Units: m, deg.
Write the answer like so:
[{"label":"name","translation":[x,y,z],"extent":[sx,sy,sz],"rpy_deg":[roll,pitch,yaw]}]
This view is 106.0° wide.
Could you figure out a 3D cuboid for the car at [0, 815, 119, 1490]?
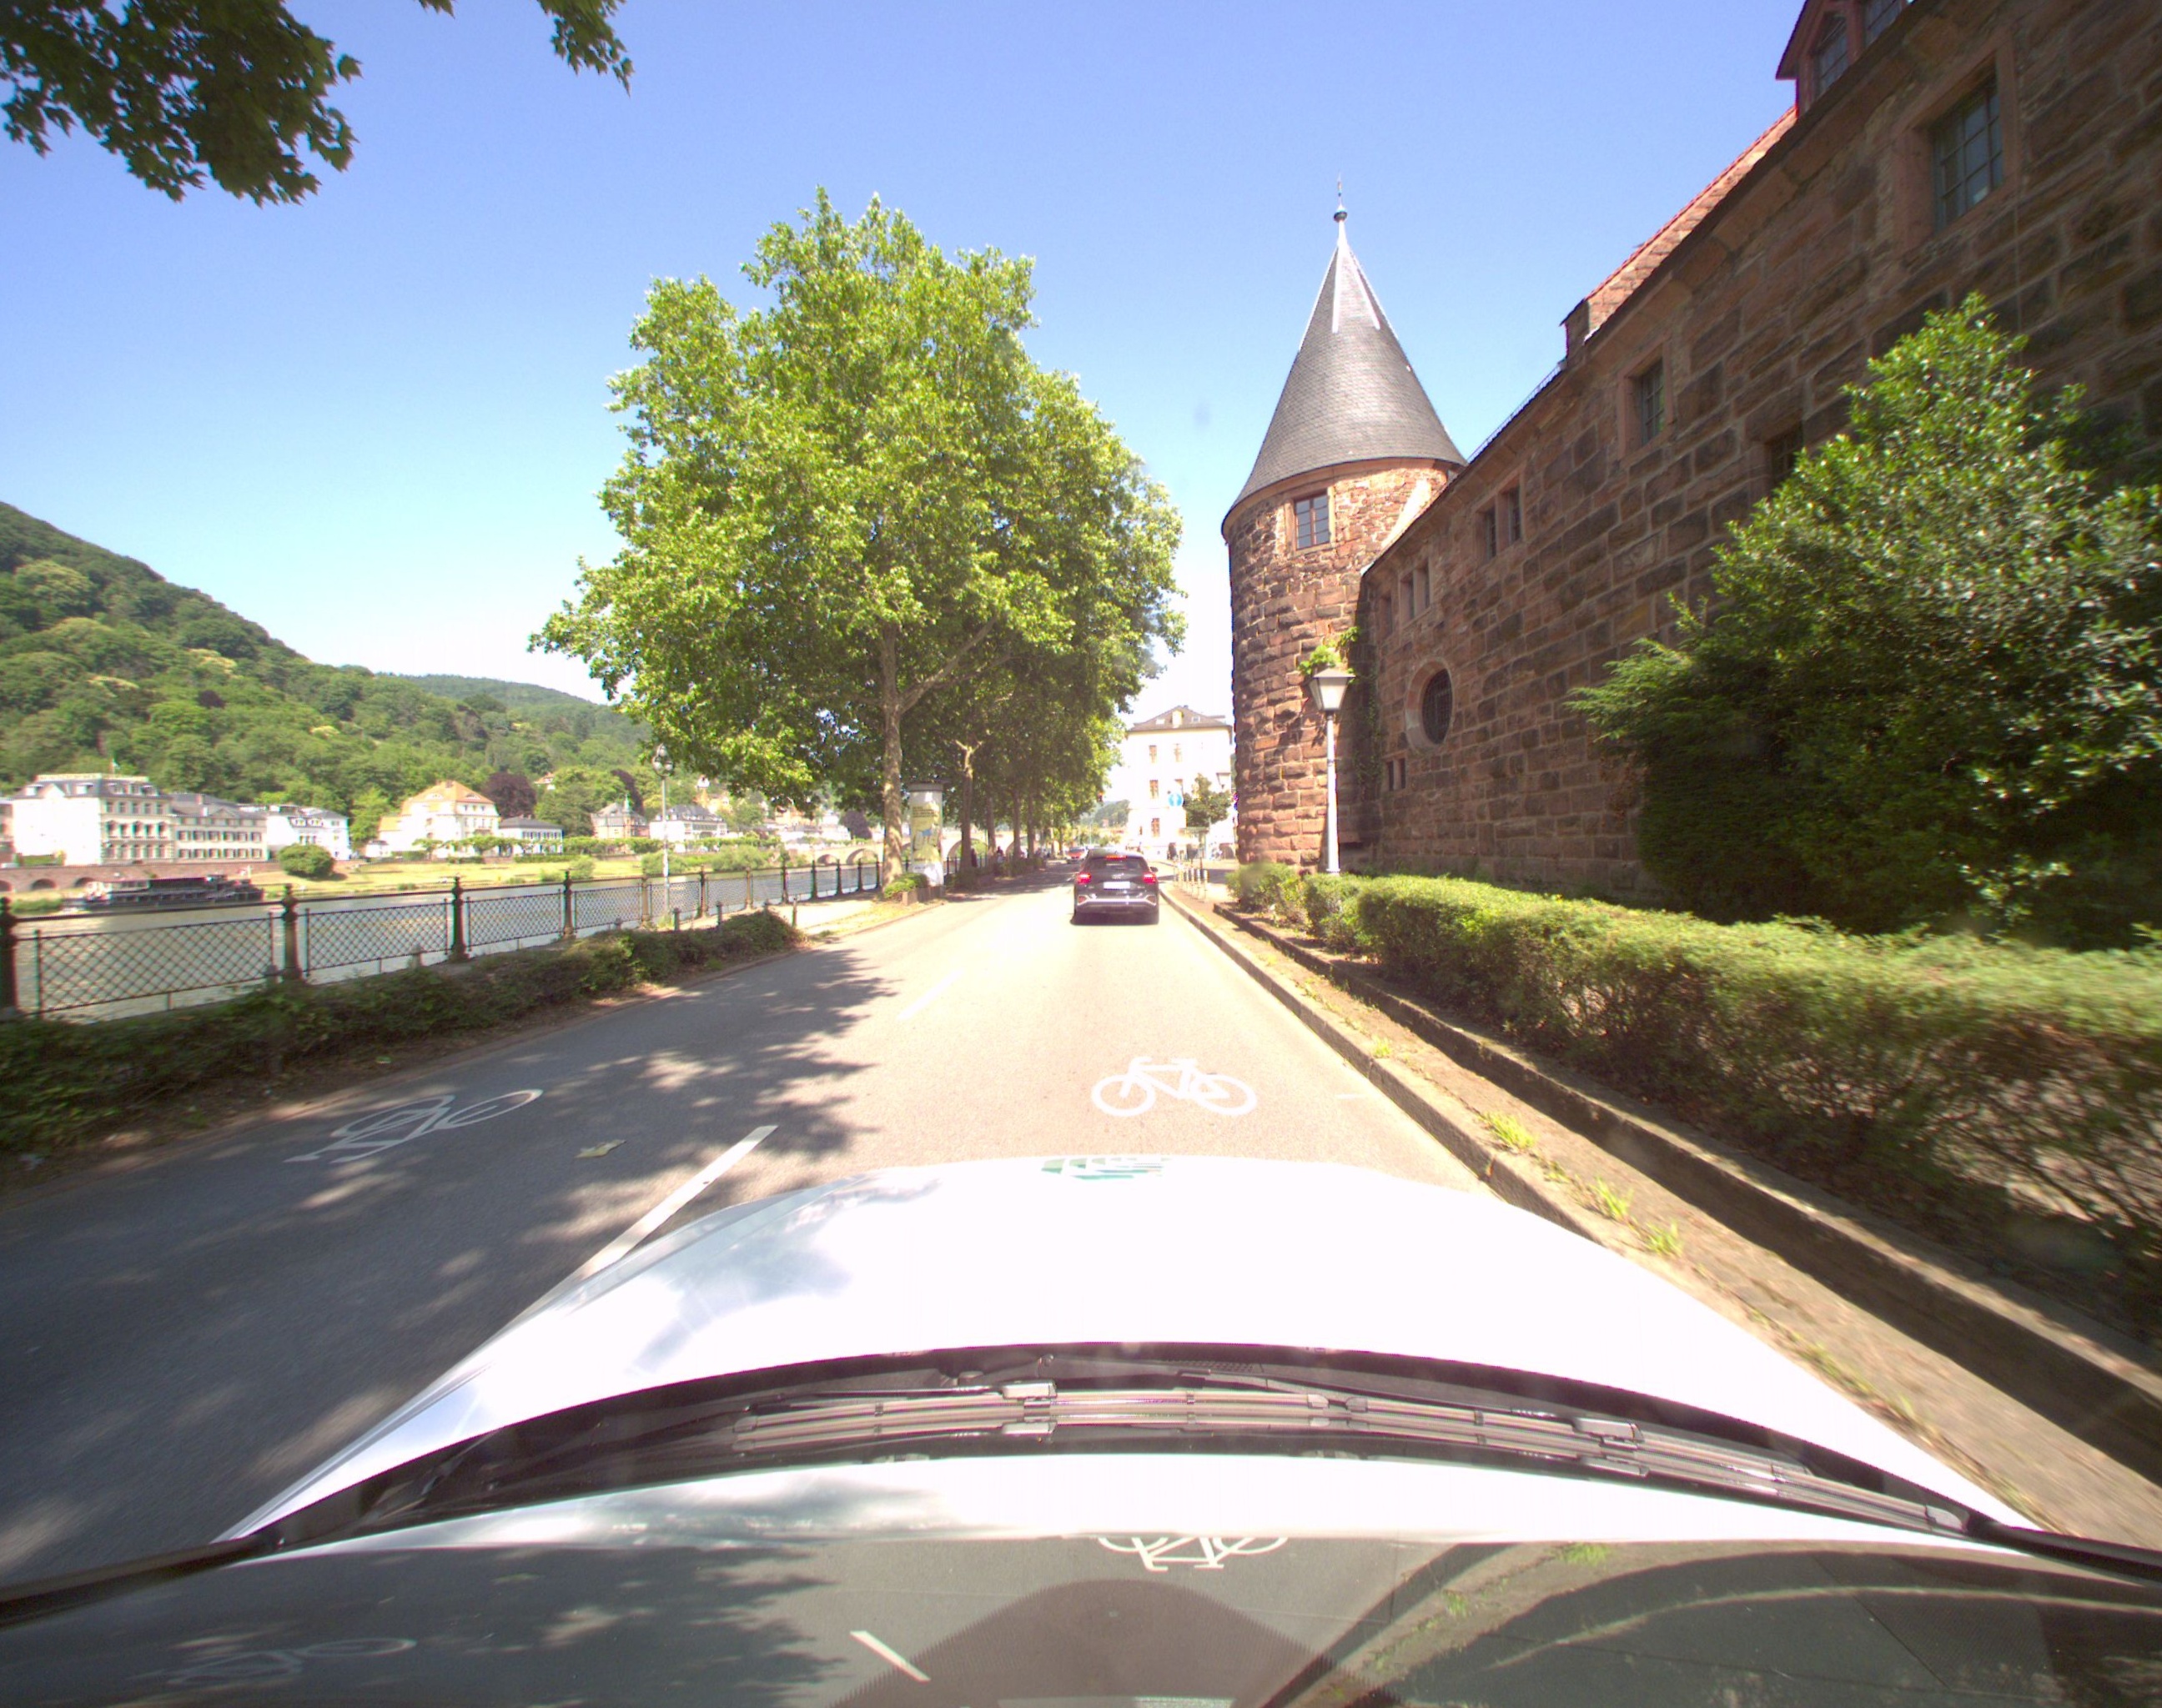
[{"label":"car","translation":[-3.626,0.796,0.190],"extent":[1.756,1.647,4.092],"rpy_deg":[-4,0,2]}]

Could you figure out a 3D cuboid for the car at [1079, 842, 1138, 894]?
[{"label":"car","translation":[0.953,0.429,27.575],"extent":[1.794,1.562,3.718],"rpy_deg":[-3,0,2]}]

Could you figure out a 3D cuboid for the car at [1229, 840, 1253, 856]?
[{"label":"car","translation":[17.956,-0.650,91.589],"extent":[1.986,1.716,4.003],"rpy_deg":[0,0,2]}]

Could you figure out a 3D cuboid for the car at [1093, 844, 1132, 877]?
[{"label":"car","translation":[1.589,0.291,40.659],"extent":[1.794,1.523,3.718],"rpy_deg":[-2,0,2]}]

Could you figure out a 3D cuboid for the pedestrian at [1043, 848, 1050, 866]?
[{"label":"pedestrian","translation":[-3.232,0.299,76.356],"extent":[0.516,1.637,0.438],"rpy_deg":[-3,0,-5]}]

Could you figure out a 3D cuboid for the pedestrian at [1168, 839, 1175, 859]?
[{"label":"pedestrian","translation":[7.411,-0.396,66.898],"extent":[0.555,1.633,0.660],"rpy_deg":[0,0,3]}]

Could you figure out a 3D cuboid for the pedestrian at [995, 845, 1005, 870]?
[{"label":"pedestrian","translation":[-5.778,0.230,58.023],"extent":[0.562,1.741,0.665],"rpy_deg":[-3,0,-1]}]

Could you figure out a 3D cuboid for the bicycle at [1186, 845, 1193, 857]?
[{"label":"bicycle","translation":[9.313,-0.241,69.923],"extent":[0.449,0.974,1.400],"rpy_deg":[0,0,2]}]

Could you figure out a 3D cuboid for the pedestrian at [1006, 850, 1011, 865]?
[{"label":"pedestrian","translation":[-7.199,0.332,80.859],"extent":[0.496,1.537,0.678],"rpy_deg":[1,0,-5]}]

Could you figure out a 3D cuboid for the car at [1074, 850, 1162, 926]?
[{"label":"car","translation":[0.767,0.668,18.025],"extent":[1.742,1.494,3.630],"rpy_deg":[0,1,1]}]

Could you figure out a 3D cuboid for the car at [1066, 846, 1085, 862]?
[{"label":"car","translation":[-0.562,-0.022,82.307],"extent":[1.607,1.523,3.480],"rpy_deg":[-3,0,4]}]

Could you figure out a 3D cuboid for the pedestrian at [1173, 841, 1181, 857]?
[{"label":"pedestrian","translation":[9.109,-0.472,77.060],"extent":[0.744,1.557,0.589],"rpy_deg":[0,0,3]}]

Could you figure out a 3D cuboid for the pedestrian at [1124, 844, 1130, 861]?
[{"label":"pedestrian","translation":[4.227,-0.141,74.510],"extent":[0.555,1.557,0.660],"rpy_deg":[0,0,3]}]

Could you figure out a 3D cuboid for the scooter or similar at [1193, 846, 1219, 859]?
[{"label":"scooter or similar","translation":[9.052,-0.099,59.047],"extent":[1.838,0.963,0.429],"rpy_deg":[0,0,1]}]

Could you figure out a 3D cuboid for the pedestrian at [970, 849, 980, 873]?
[{"label":"pedestrian","translation":[-7.530,0.494,57.779],"extent":[0.643,1.717,0.665],"rpy_deg":[0,0,-1]}]

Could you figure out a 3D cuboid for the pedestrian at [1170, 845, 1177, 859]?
[{"label":"pedestrian","translation":[7.756,-0.151,67.969],"extent":[0.544,1.201,0.523],"rpy_deg":[0,0,3]}]
